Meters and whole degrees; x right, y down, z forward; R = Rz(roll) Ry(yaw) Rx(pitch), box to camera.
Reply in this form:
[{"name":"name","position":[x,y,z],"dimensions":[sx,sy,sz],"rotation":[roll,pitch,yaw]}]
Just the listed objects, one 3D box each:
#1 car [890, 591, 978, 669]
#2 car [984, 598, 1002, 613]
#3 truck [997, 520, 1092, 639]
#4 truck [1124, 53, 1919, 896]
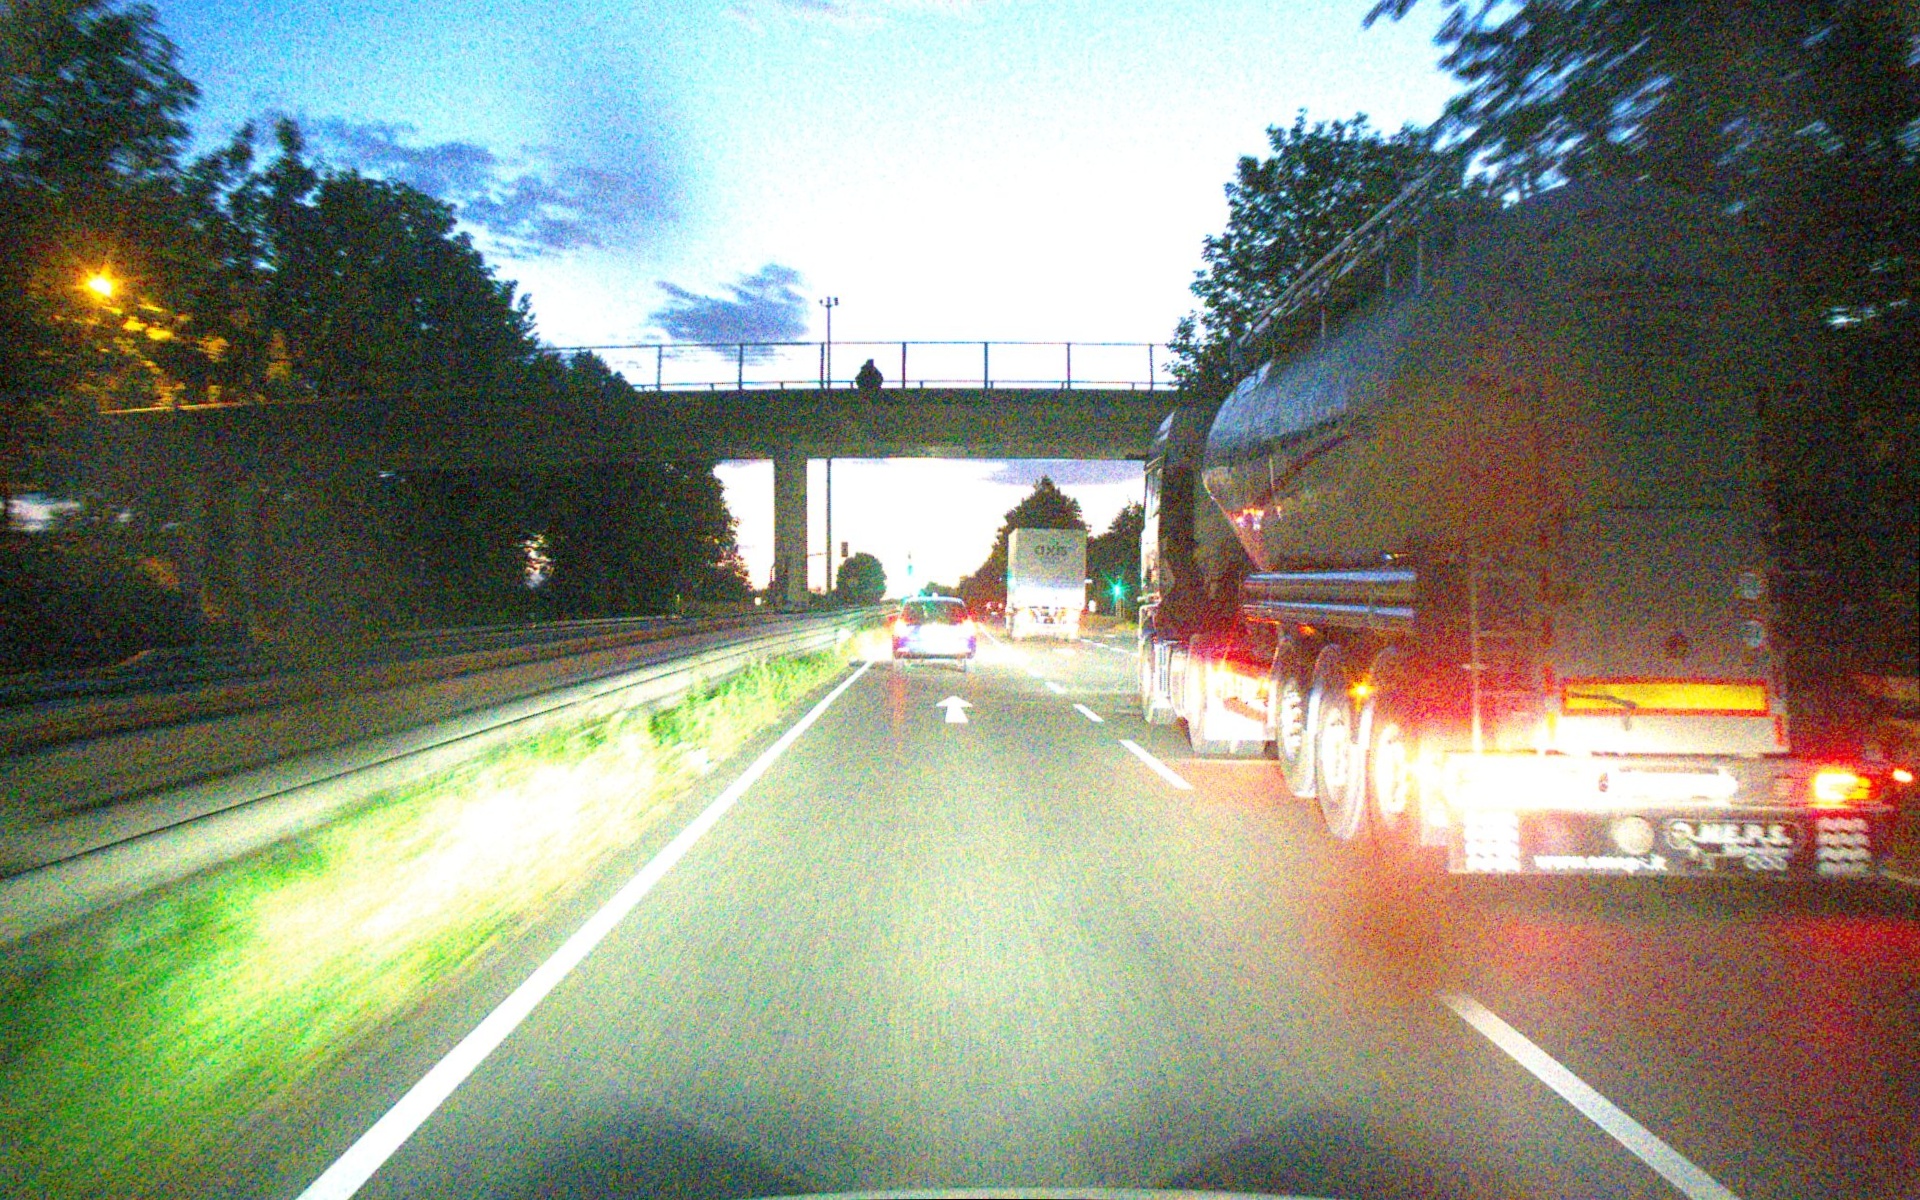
[{"name":"car","position":[-0.531,0.577,33.647],"dimensions":[1.661,1.478,3.913],"rotation":[1,0,-1]},{"name":"car","position":[3.363,0.566,168.477],"dimensions":[1.661,1.478,3.913],"rotation":[1,0,-1]},{"name":"truck","position":[3.130,-0.713,64.858],"dimensions":[2.824,4.178,12.680],"rotation":[1,0,-1]},{"name":"truck","position":[3.574,-0.610,14.831],"dimensions":[2.633,4.178,13.138],"rotation":[1,0,-1]}]
